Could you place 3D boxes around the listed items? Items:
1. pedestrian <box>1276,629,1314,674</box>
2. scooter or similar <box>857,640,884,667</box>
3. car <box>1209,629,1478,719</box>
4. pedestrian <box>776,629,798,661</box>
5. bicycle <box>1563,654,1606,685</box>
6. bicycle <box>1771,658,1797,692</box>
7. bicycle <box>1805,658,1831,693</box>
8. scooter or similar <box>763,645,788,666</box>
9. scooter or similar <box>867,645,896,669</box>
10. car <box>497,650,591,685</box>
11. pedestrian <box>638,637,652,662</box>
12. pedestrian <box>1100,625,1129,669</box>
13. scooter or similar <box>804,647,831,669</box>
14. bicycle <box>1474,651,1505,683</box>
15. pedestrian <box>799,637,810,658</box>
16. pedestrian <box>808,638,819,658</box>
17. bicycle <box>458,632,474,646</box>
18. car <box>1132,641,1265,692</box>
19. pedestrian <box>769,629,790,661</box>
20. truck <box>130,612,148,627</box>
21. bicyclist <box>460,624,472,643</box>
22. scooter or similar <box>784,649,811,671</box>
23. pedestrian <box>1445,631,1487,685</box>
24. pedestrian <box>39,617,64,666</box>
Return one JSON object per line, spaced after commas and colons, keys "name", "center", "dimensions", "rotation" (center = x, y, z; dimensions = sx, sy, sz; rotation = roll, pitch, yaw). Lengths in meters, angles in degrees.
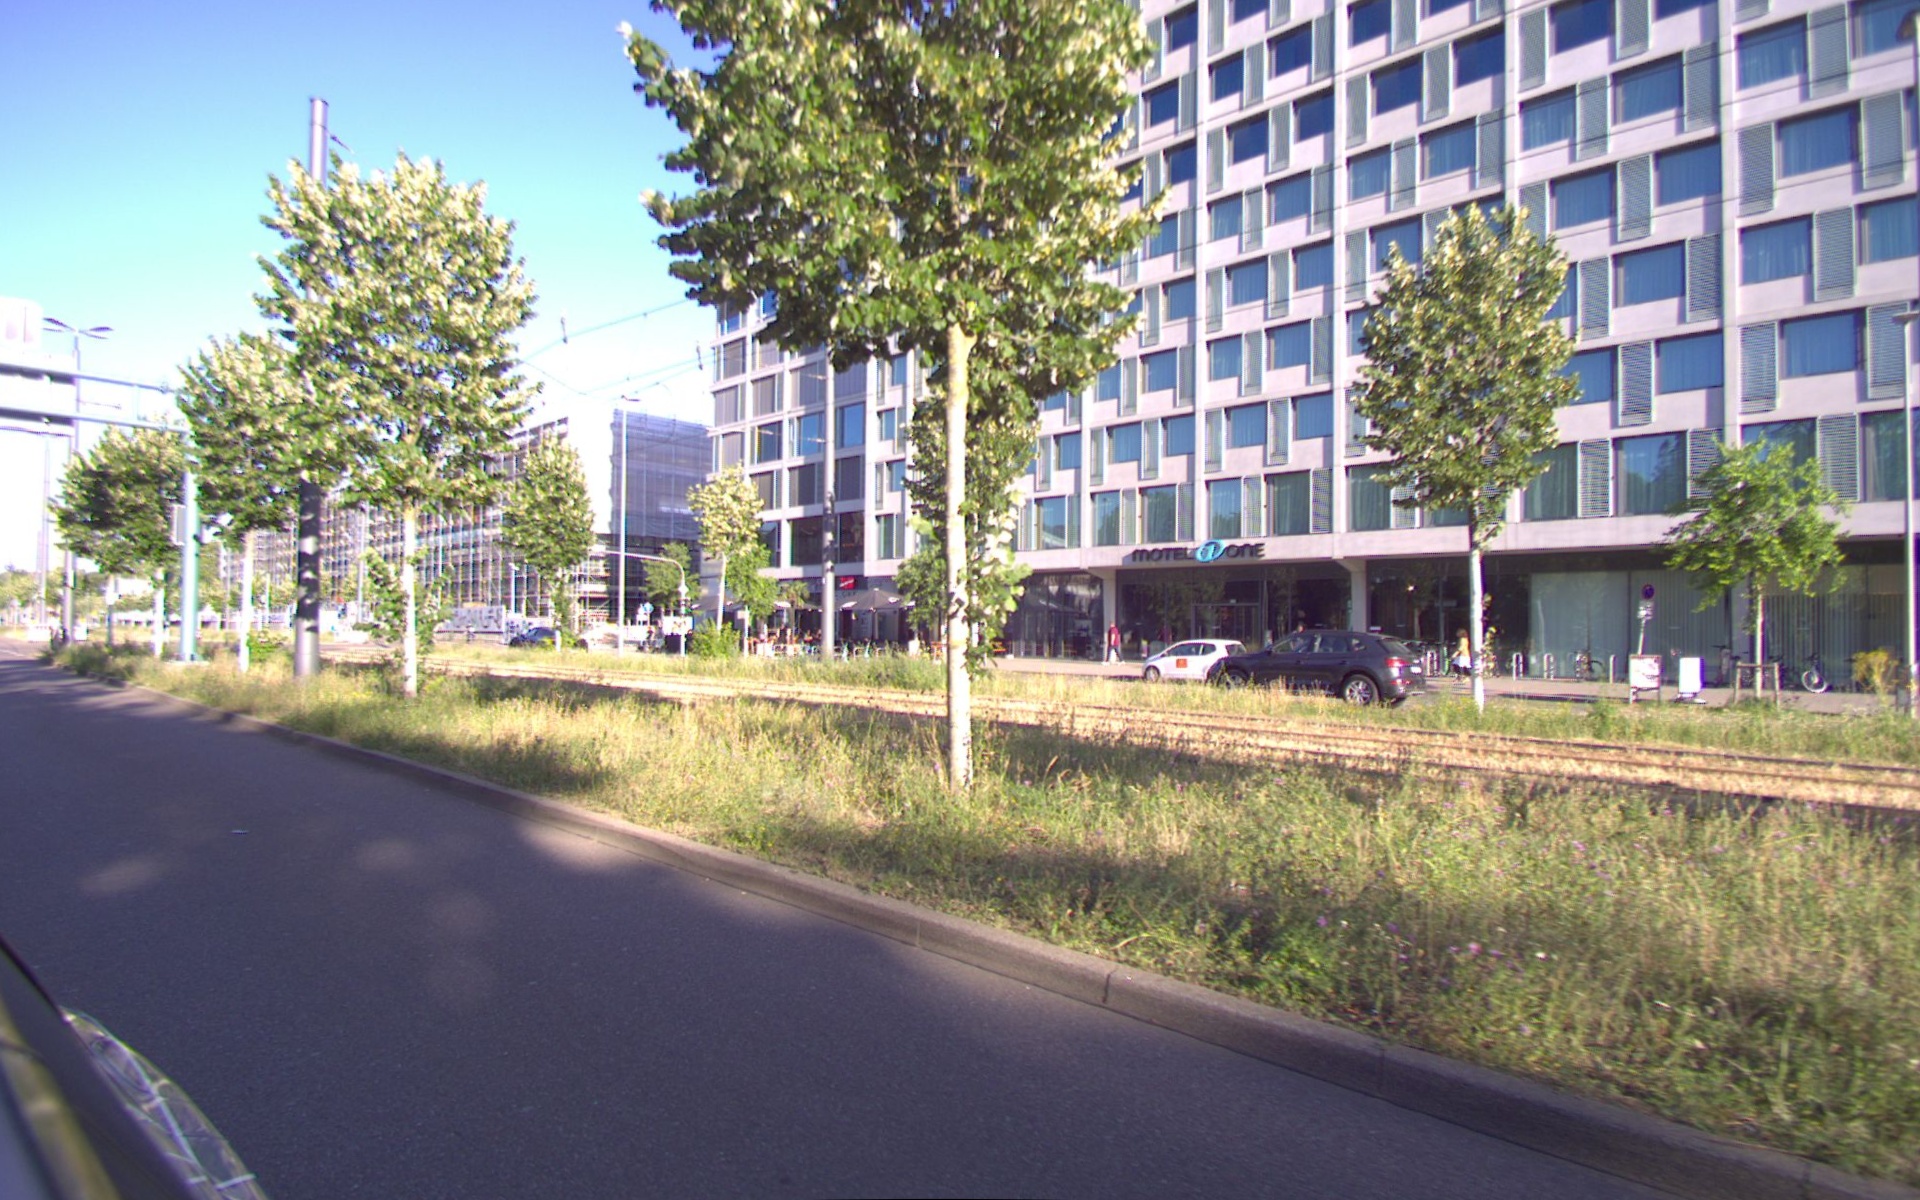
{"name": "pedestrian", "center": [12.683, 1.939, 38.349], "dimensions": [0.963, 1.683, 1.060], "rotation": [1, -2, -8]}
{"name": "scooter or similar", "center": [-3.971, 2.397, 45.095], "dimensions": [0.406, 1.181, 1.229], "rotation": [-2, -3, 44]}
{"name": "car", "center": [8.089, 1.480, 21.761], "dimensions": [1.864, 1.702, 5.092], "rotation": [1, -2, -45]}
{"name": "pedestrian", "center": [-9.384, 2.420, 54.823], "dimensions": [0.858, 1.735, 0.805], "rotation": [2, -3, -37]}
{"name": "bicycle", "center": [19.506, 2.156, 31.589], "dimensions": [1.780, 0.912, 0.513], "rotation": [2, -2, -36]}
{"name": "bicycle", "center": [23.195, 2.100, 28.494], "dimensions": [0.511, 0.912, 1.785], "rotation": [-1, -3, 40]}
{"name": "bicycle", "center": [23.648, 2.062, 27.886], "dimensions": [0.511, 0.912, 1.785], "rotation": [-1, -3, 40]}
{"name": "scooter or similar", "center": [-9.159, 2.768, 50.215], "dimensions": [0.406, 1.014, 1.229], "rotation": [-2, -3, 44]}
{"name": "scooter or similar", "center": [-3.416, 2.480, 44.084], "dimensions": [0.435, 1.027, 1.229], "rotation": [-2, -3, 44]}
{"name": "car", "center": [-17.807, 2.837, 43.203], "dimensions": [4.850, 1.354, 1.870], "rotation": [-1, -3, 43]}
{"name": "pedestrian", "center": [-19.359, 3.040, 62.271], "dimensions": [0.576, 1.510, 0.580], "rotation": [-1, -3, 39]}
{"name": "pedestrian", "center": [6.613, 2.021, 43.463], "dimensions": [0.956, 1.885, 0.981], "rotation": [1, -2, -10]}
{"name": "scooter or similar", "center": [-6.643, 2.718, 47.282], "dimensions": [0.435, 1.027, 1.229], "rotation": [-2, -3, 44]}
{"name": "bicycle", "center": [17.827, 2.236, 34.055], "dimensions": [0.483, 0.974, 1.732], "rotation": [-1, -1, 43]}
{"name": "pedestrian", "center": [-9.334, 2.866, 60.791], "dimensions": [0.497, 1.231, 0.427], "rotation": [-2, -3, 44]}
{"name": "pedestrian", "center": [-8.725, 2.851, 60.157], "dimensions": [0.497, 1.231, 0.427], "rotation": [-2, -3, 44]}
{"name": "bicycle", "center": [-39.690, 3.100, 81.266], "dimensions": [0.617, 1.075, 2.081], "rotation": [2, -3, -40]}
{"name": "car", "center": [7.808, 2.150, 33.296], "dimensions": [1.864, 1.503, 3.875], "rotation": [1, -2, -45]}
{"name": "pedestrian", "center": [-9.904, 2.434, 55.429], "dimensions": [0.858, 1.735, 0.805], "rotation": [2, -3, -37]}
{"name": "truck", "center": [-153.395, 3.661, 188.996], "dimensions": [2.113, 2.593, 4.742], "rotation": [3, -3, -45]}
{"name": "bicyclist", "center": [-39.684, 2.709, 81.256], "dimensions": [0.617, 1.476, 0.852], "rotation": [2, -3, -40]}
{"name": "scooter or similar", "center": [-7.762, 2.851, 48.316], "dimensions": [0.511, 1.027, 1.229], "rotation": [-2, -3, 44]}
{"name": "pedestrian", "center": [15.990, 1.826, 31.971], "dimensions": [0.834, 1.666, 0.970], "rotation": [2, -3, -45]}
{"name": "pedestrian", "center": [-32.736, 1.490, 36.474], "dimensions": [0.591, 1.712, 0.715], "rotation": [2, -3, -41]}
